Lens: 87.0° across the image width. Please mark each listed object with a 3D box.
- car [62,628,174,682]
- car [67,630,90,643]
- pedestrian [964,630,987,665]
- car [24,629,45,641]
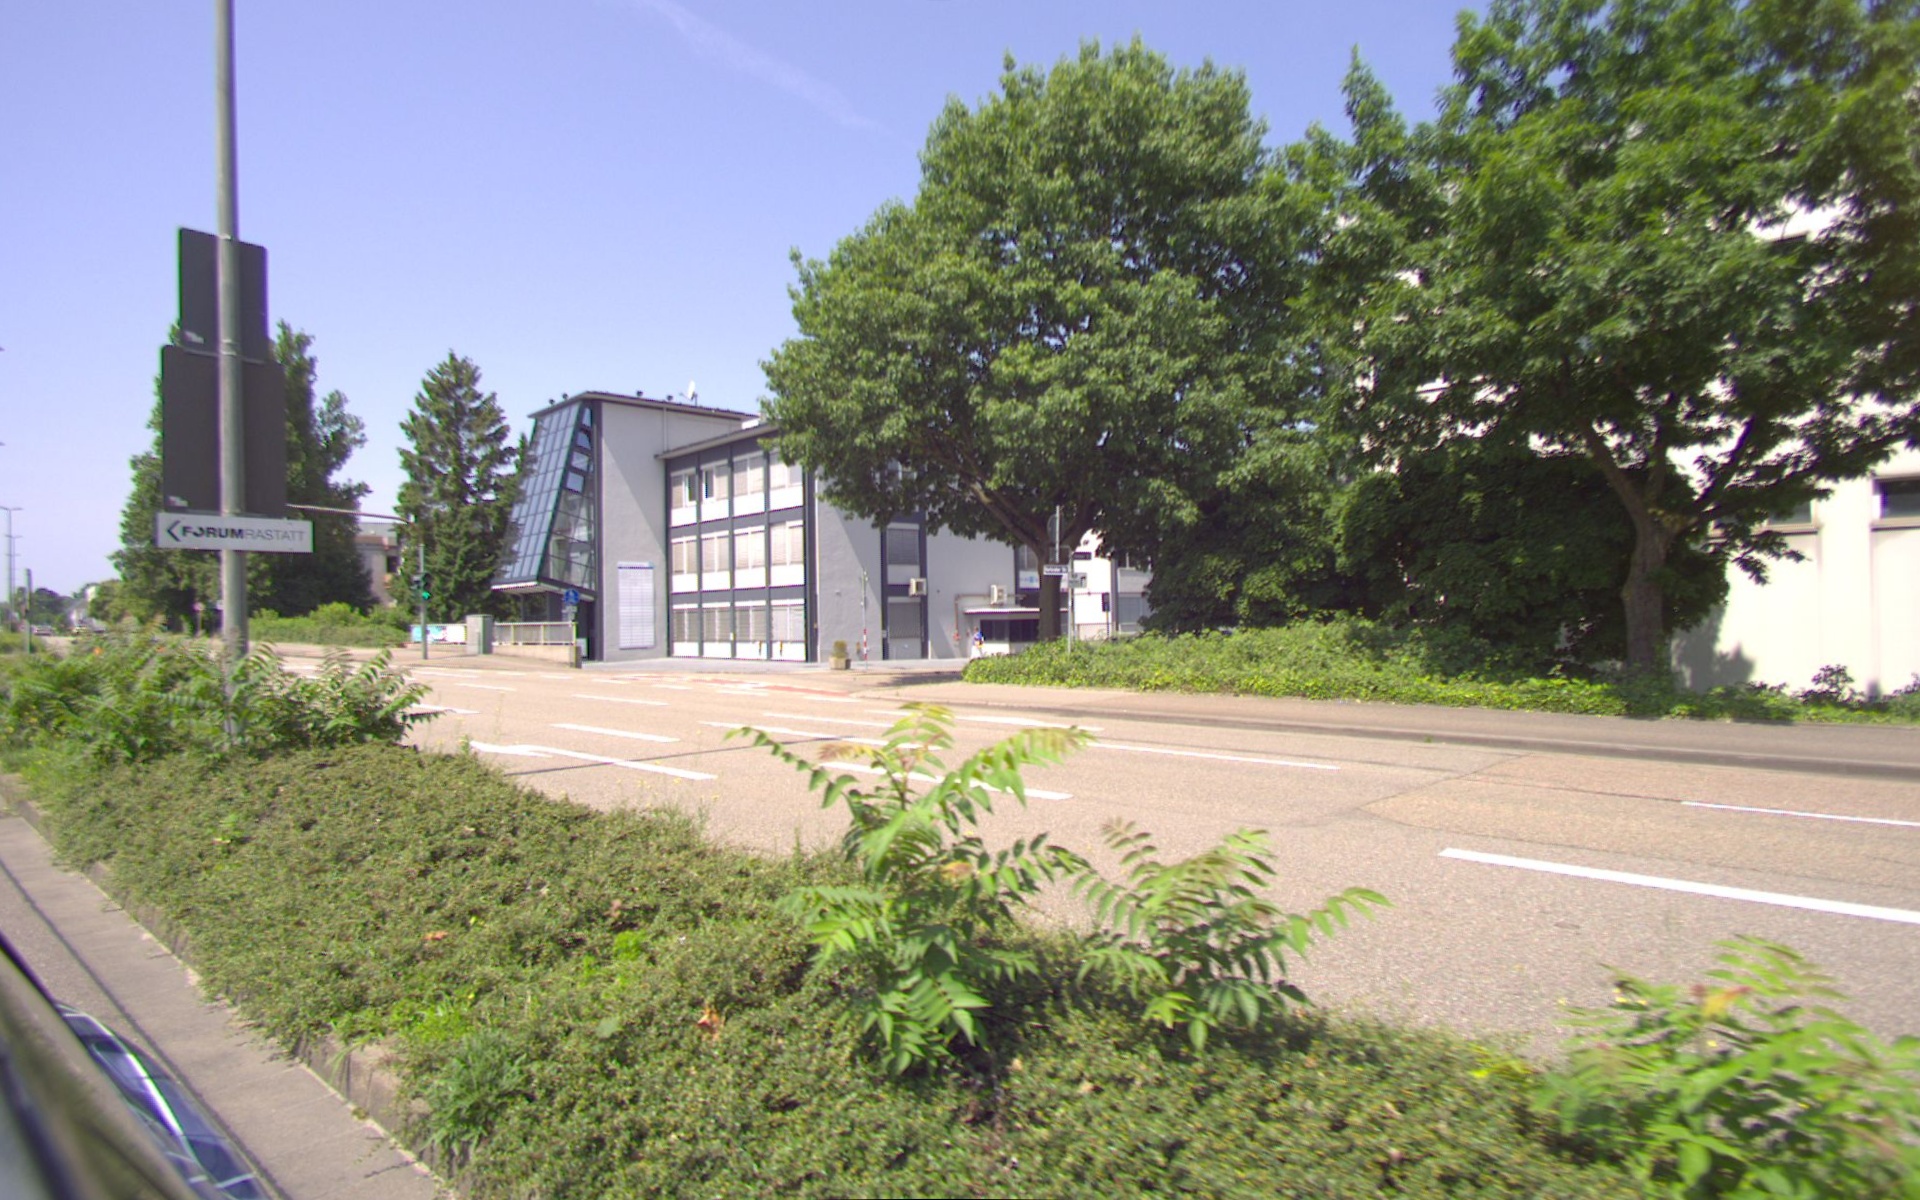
[{"bbox_3d":[-22.827,1.427,27.374,4.148,1.334,1.711,-1,-2,42],"label":"car"},{"bbox_3d":[-111.236,4.554,127.697,4.288,1.572,1.873,-1,-2,44],"label":"car"},{"bbox_3d":[0.712,2.226,47.662,0.858,1.637,0.676,-1,-2,35],"label":"pedestrian"},{"bbox_3d":[-119.622,4.543,130.784,4.092,1.429,1.740,-1,-1,44],"label":"car"}]
